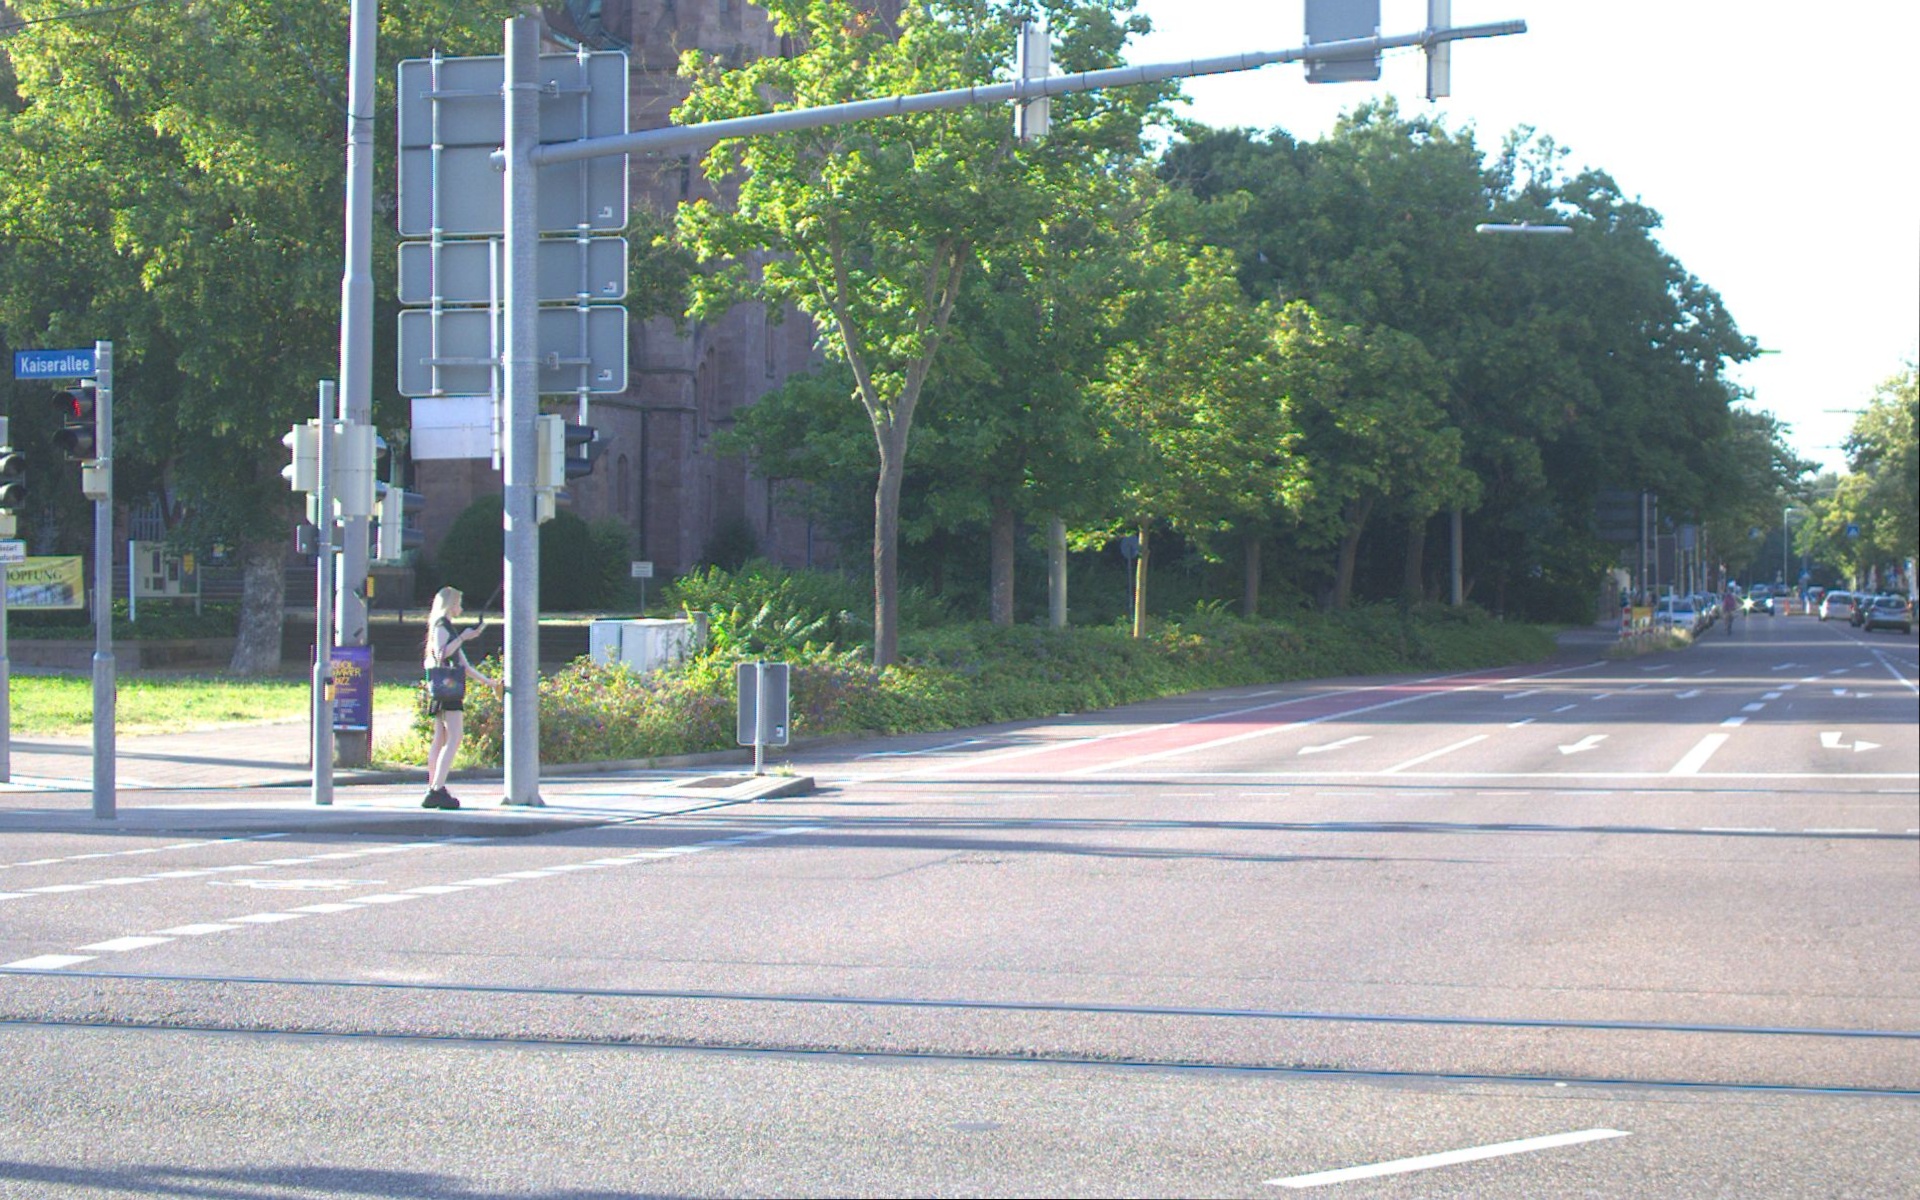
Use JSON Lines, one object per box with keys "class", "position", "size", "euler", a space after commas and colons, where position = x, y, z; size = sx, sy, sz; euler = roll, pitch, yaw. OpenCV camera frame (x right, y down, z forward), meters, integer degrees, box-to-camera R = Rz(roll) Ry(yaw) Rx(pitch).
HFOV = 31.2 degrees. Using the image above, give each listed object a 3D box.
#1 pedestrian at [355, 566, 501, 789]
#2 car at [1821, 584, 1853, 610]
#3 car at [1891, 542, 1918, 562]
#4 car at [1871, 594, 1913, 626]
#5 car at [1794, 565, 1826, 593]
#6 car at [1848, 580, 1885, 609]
{"class": "pedestrian", "position": [-4.232, 0.598, 27.407], "size": [0.810, 1.733, 0.967], "euler": [1, 0, 15]}
{"class": "car", "position": [44.877, -0.154, 175.925], "size": [1.596, 1.263, 3.264], "euler": [1, 1, 14]}
{"class": "car", "position": [59.626, -3.053, 217.031], "size": [1.596, 1.263, 3.264], "euler": [1, 1, 14]}
{"class": "car", "position": [38.213, 0.406, 141.025], "size": [1.596, 1.263, 3.264], "euler": [1, 1, 14]}
{"class": "car", "position": [53.011, -1.321, 214.383], "size": [1.888, 1.665, 3.997], "euler": [2, 1, 14]}
{"class": "car", "position": [41.465, -0.276, 157.354], "size": [1.596, 1.263, 3.264], "euler": [1, 1, 14]}
